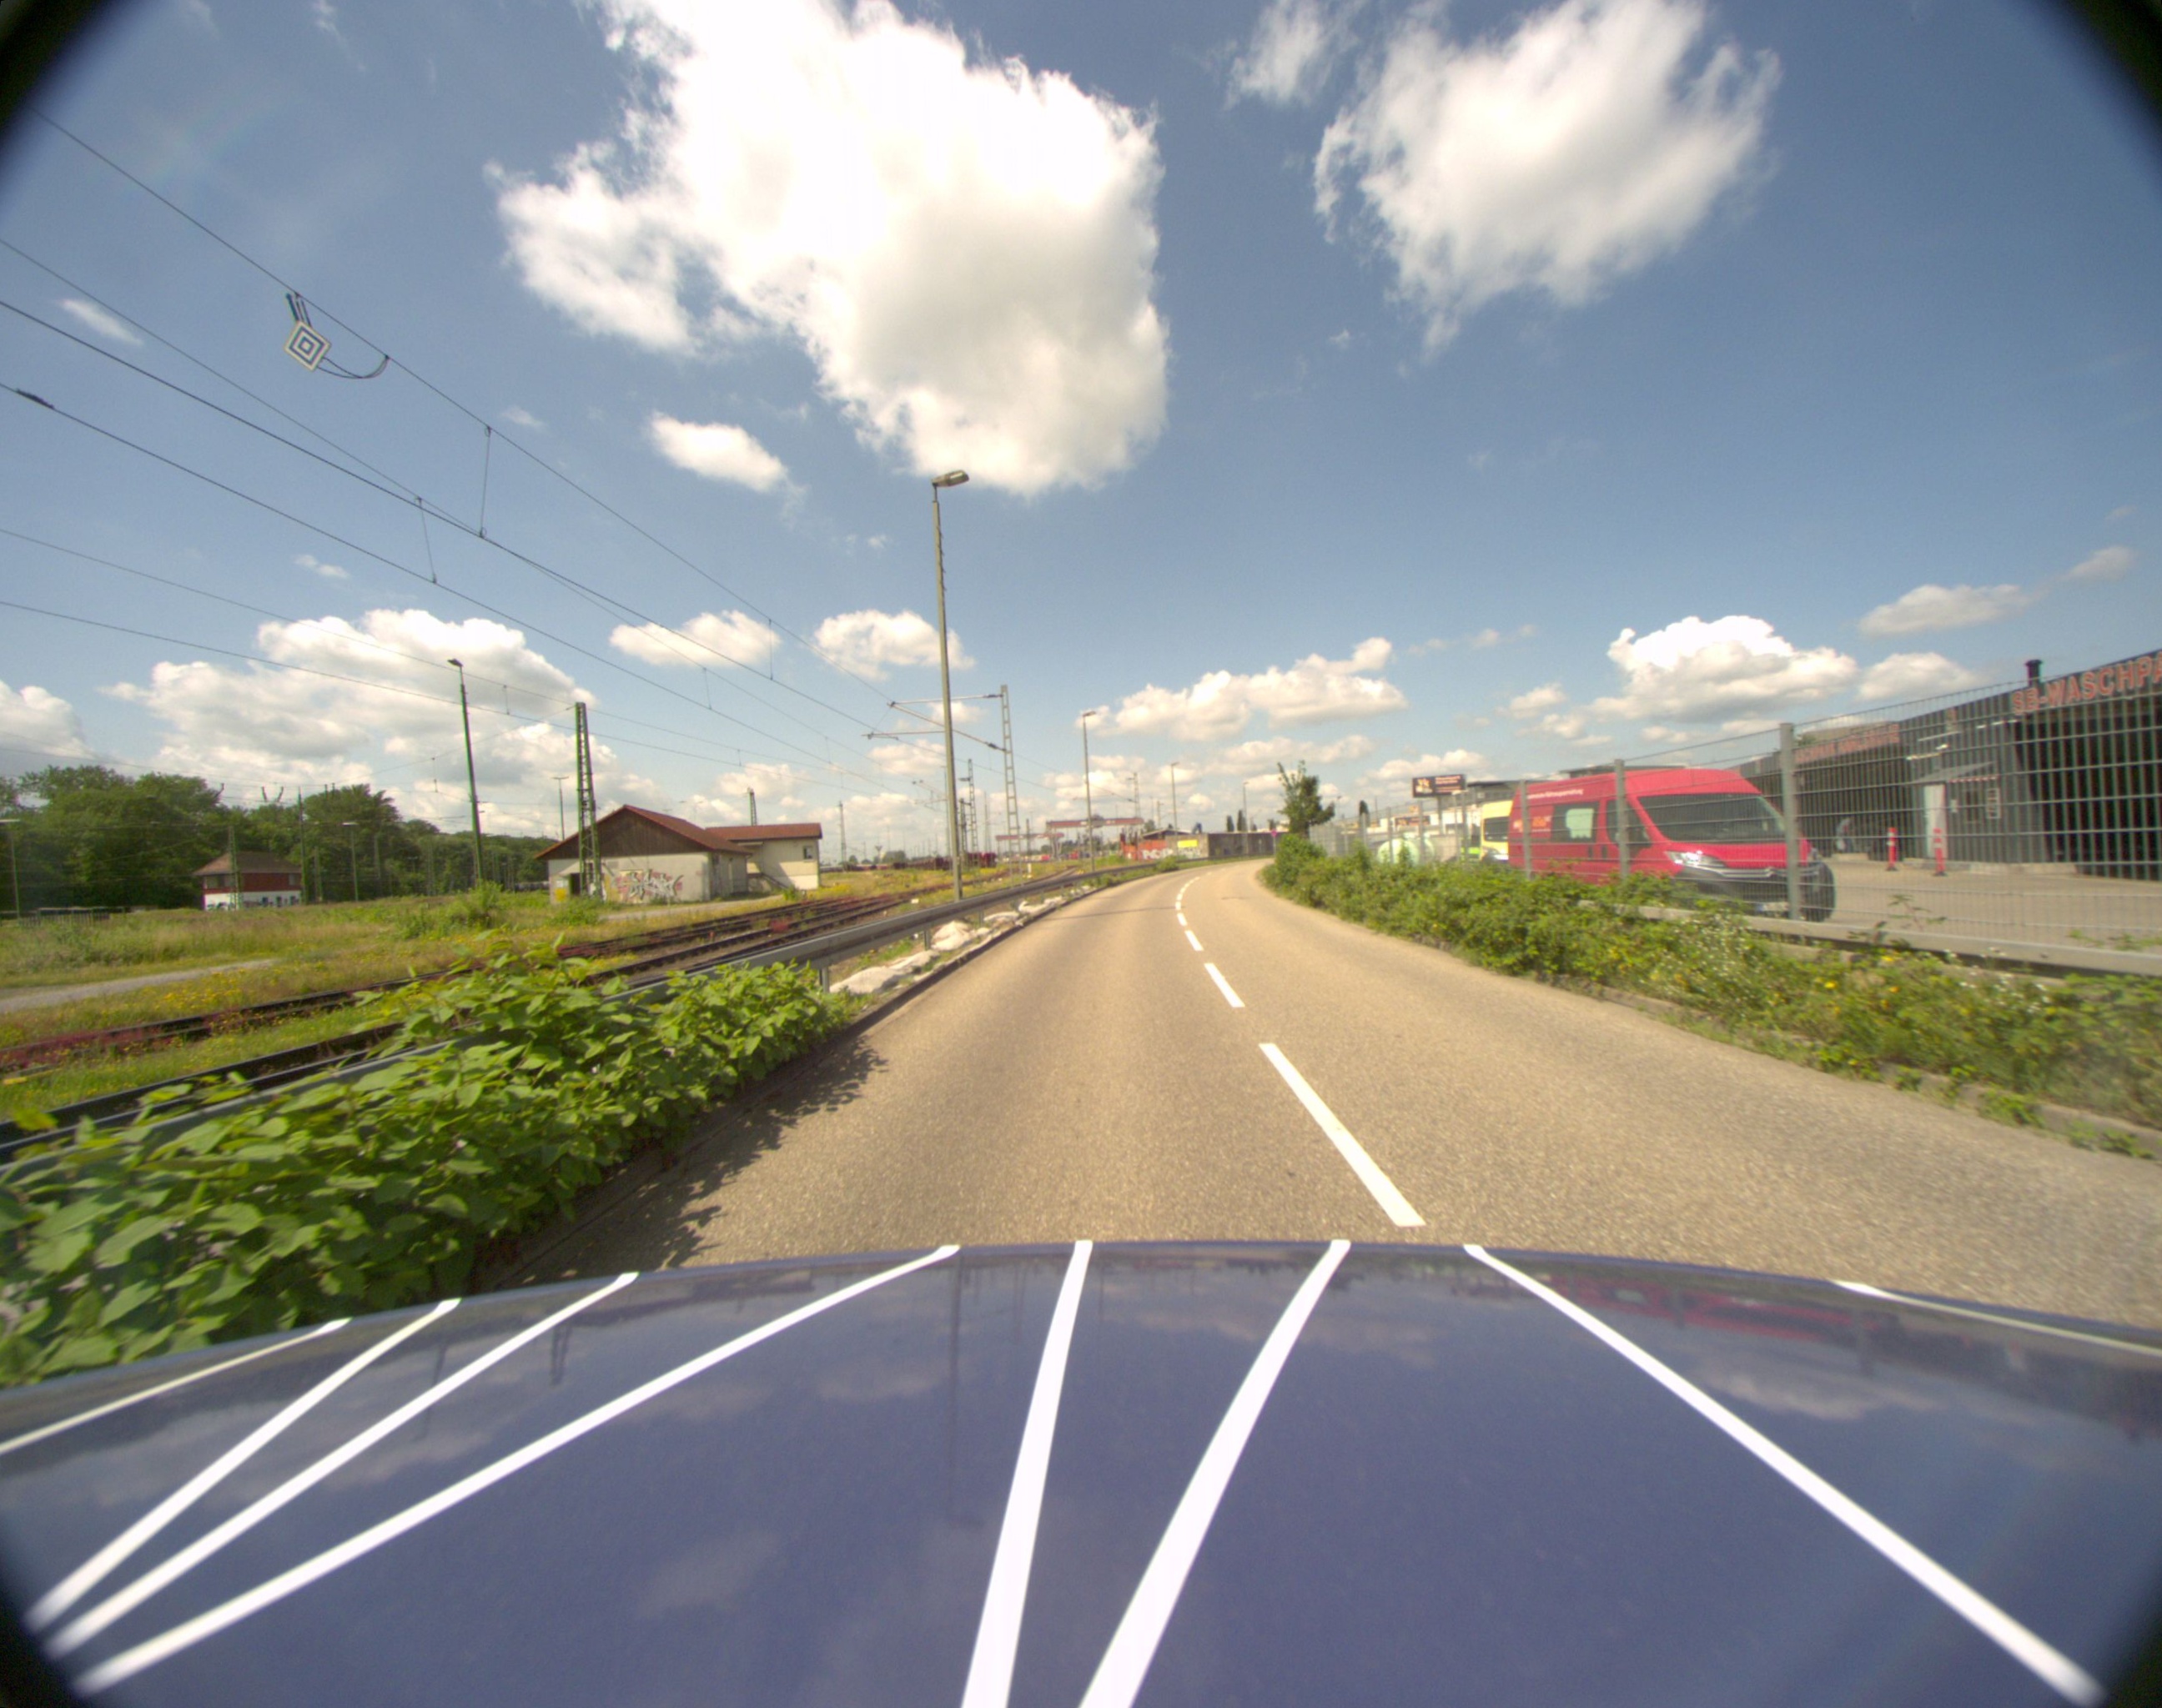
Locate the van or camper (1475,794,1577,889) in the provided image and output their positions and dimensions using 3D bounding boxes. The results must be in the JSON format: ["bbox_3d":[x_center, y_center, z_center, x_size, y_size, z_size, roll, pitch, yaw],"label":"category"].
[{"bbox_3d":[13.015,-0.399,22.427,2.244,2.411,5.668,-2,1,29],"label":"van or camper"}]

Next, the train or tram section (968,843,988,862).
[{"bbox_3d":[-21.968,-0.327,161.574,3.302,3.695,12.540,-3,0,-11],"label":"train or tram section"}]

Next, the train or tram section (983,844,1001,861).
[{"bbox_3d":[-21.815,-0.259,185.354,3.206,3.695,12.540,-3,0,-11],"label":"train or tram section"}]

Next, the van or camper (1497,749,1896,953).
[{"bbox_3d":[9.180,-0.041,12.282,2.193,2.499,5.704,-1,0,5],"label":"van or camper"}]
